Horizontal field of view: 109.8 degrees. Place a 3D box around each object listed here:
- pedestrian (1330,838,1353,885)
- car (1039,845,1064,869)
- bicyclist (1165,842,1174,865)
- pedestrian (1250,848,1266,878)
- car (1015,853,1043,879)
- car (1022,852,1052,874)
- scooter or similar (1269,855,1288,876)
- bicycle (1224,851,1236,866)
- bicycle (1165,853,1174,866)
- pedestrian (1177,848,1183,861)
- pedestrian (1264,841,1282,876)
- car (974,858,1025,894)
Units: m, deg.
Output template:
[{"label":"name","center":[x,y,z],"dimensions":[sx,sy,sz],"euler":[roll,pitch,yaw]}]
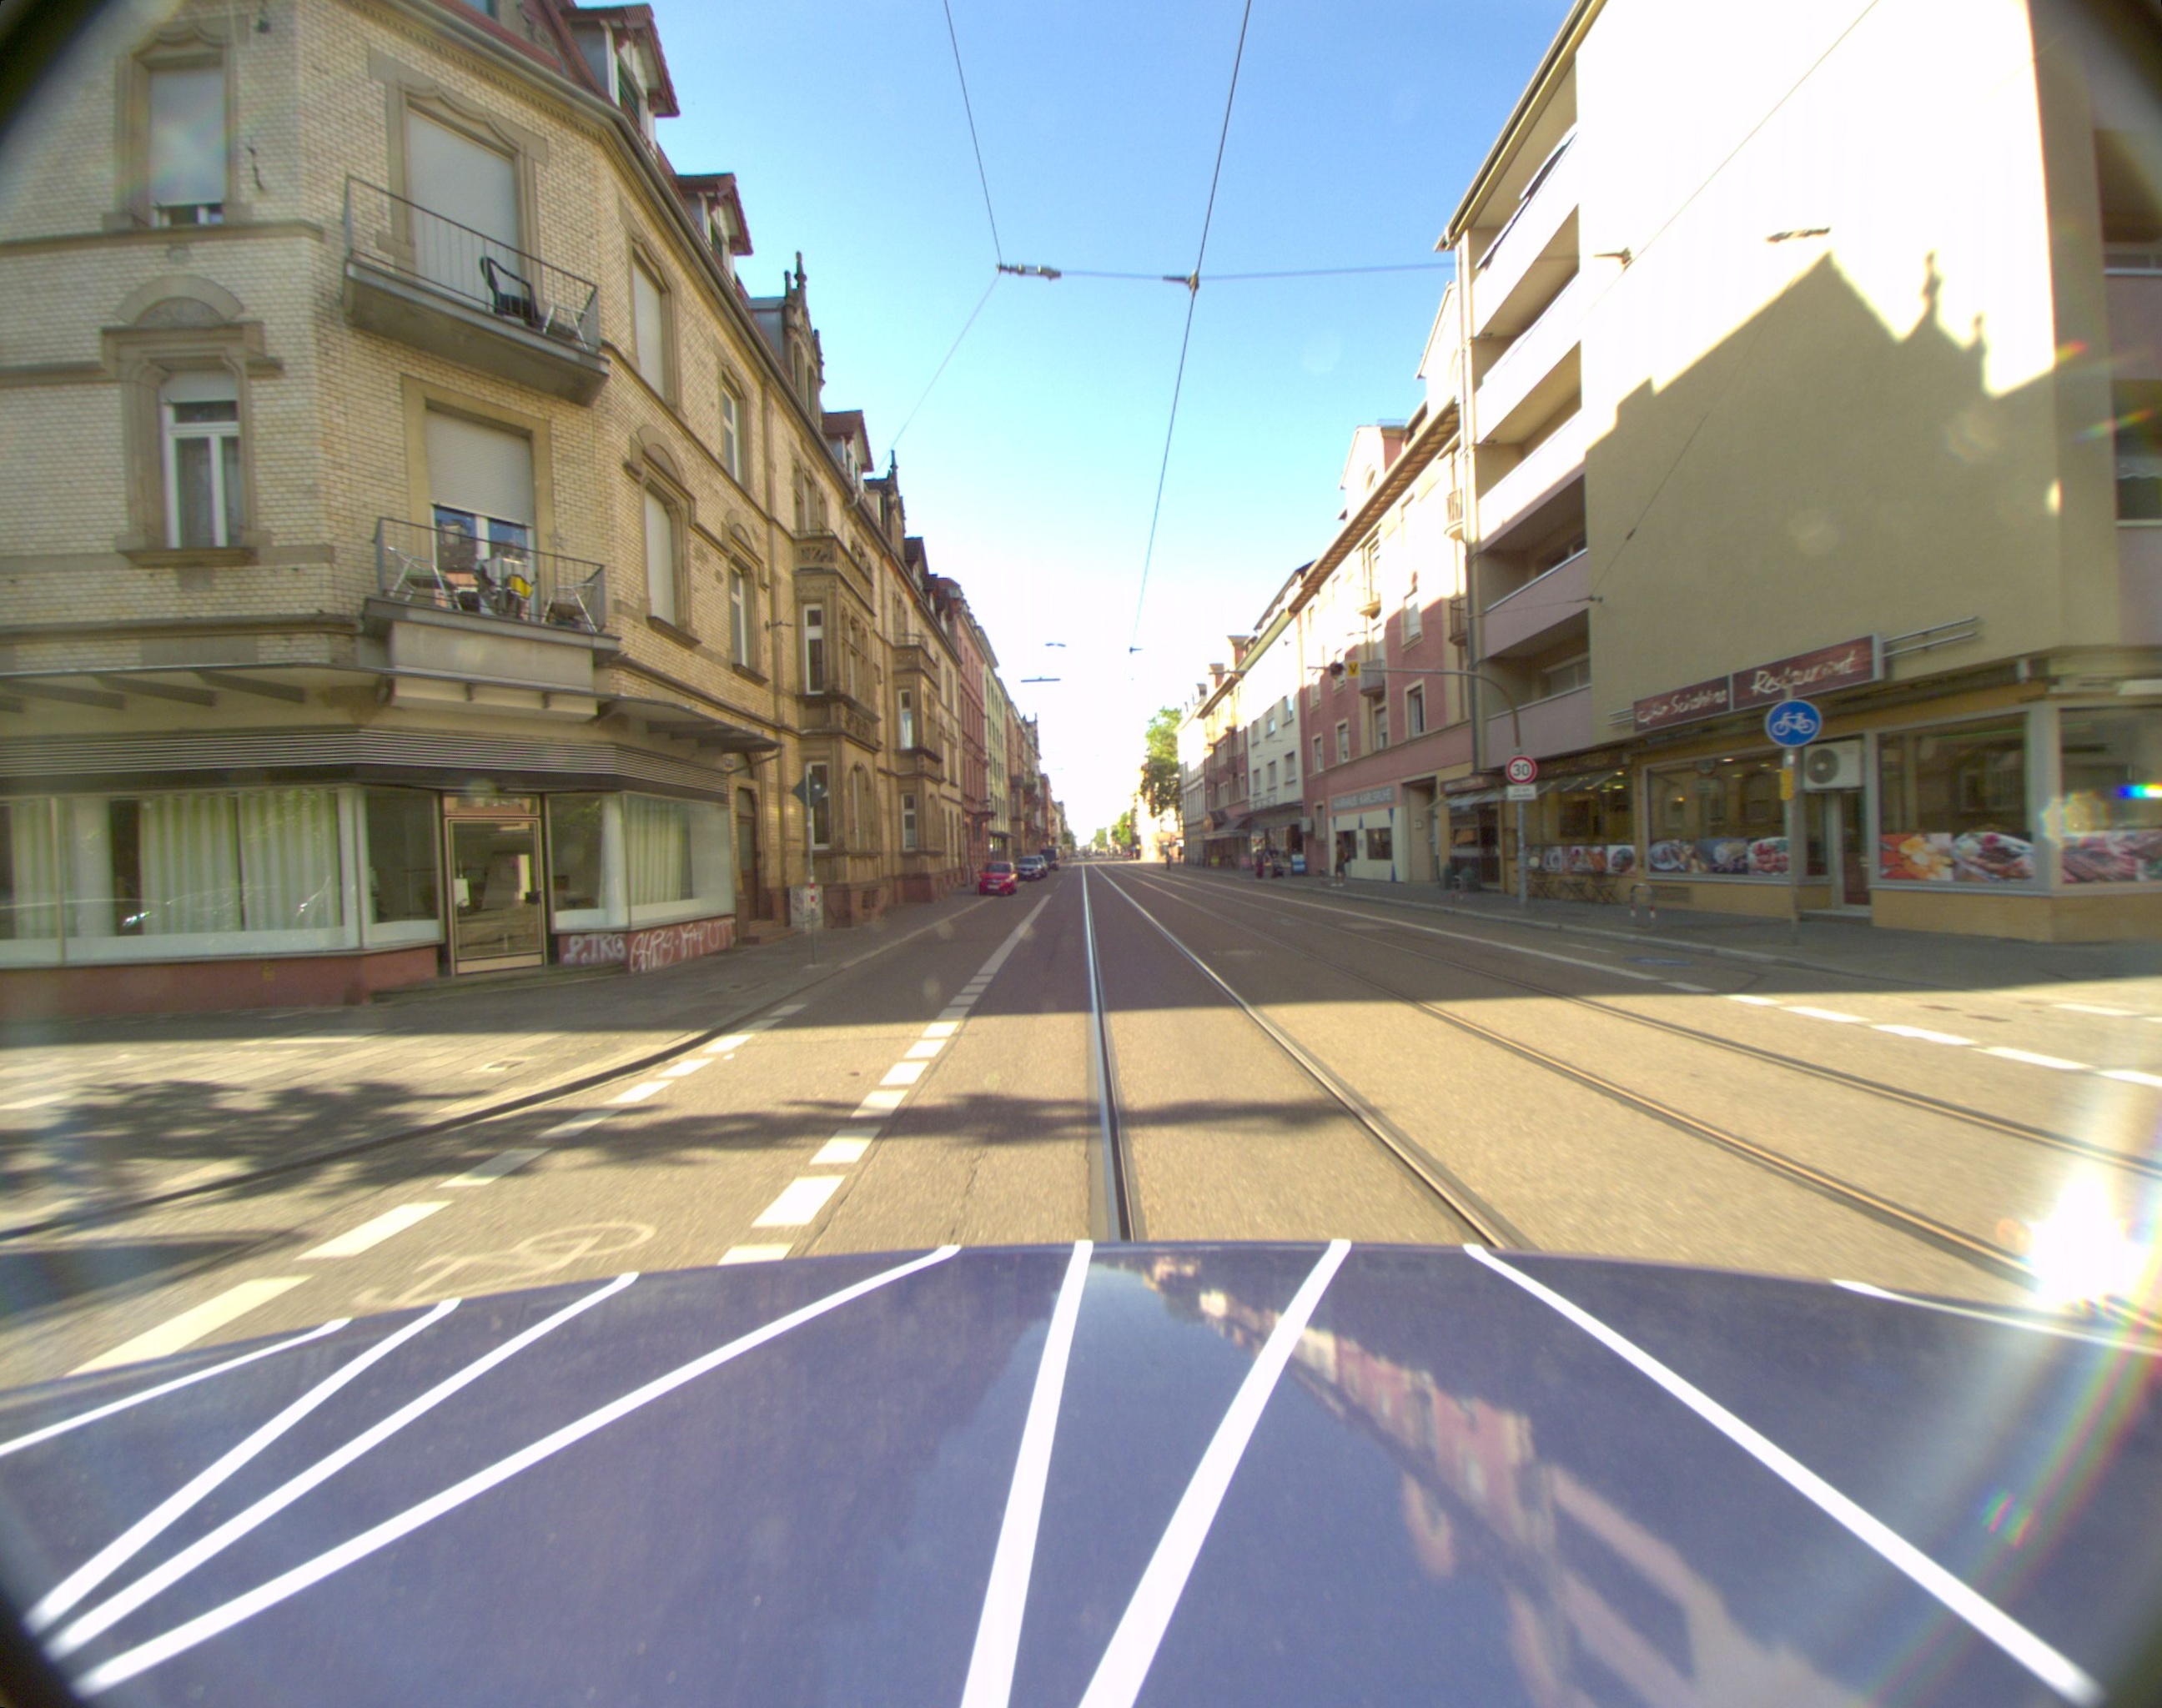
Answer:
[{"label":"pedestrian","center":[9.614,0.261,28.076],"dimensions":[0.564,1.676,0.616],"euler":[-3,1,-1]},{"label":"car","center":[-3.259,0.291,85.274],"dimensions":[2.128,2.478,5.856],"euler":[-3,1,2]},{"label":"bicyclist","center":[7.798,-0.064,66.714],"dimensions":[0.613,2.002,0.733],"euler":[-3,1,1]},{"label":"pedestrian","center":[9.177,0.468,39.385],"dimensions":[0.637,1.540,0.623],"euler":[-3,1,0]},{"label":"car","center":[-3.586,0.806,52.620],"dimensions":[1.871,1.637,4.399],"euler":[1,0,-4]},{"label":"car","center":[-3.363,0.652,58.284],"dimensions":[1.998,1.606,4.785],"euler":[1,1,0]},{"label":"scooter or similar","center":[10.066,0.584,38.734],"dimensions":[0.663,1.055,1.105],"euler":[-3,0,1]},{"label":"bicycle","center":[11.255,0.318,57.367],"dimensions":[0.425,1.053,2.329],"euler":[-3,1,0]},{"label":"bicycle","center":[7.812,0.470,66.924],"dimensions":[0.603,1.089,2.044],"euler":[0,1,1]},{"label":"pedestrian","center":[14.846,0.106,114.197],"dimensions":[0.795,1.837,0.809],"euler":[-3,1,3]},{"label":"pedestrian","center":[10.104,0.229,39.994],"dimensions":[0.627,1.779,0.821],"euler":[-3,1,0]},{"label":"car","center":[-3.629,0.945,34.544],"dimensions":[1.870,1.474,4.400],"euler":[0,1,0]}]
